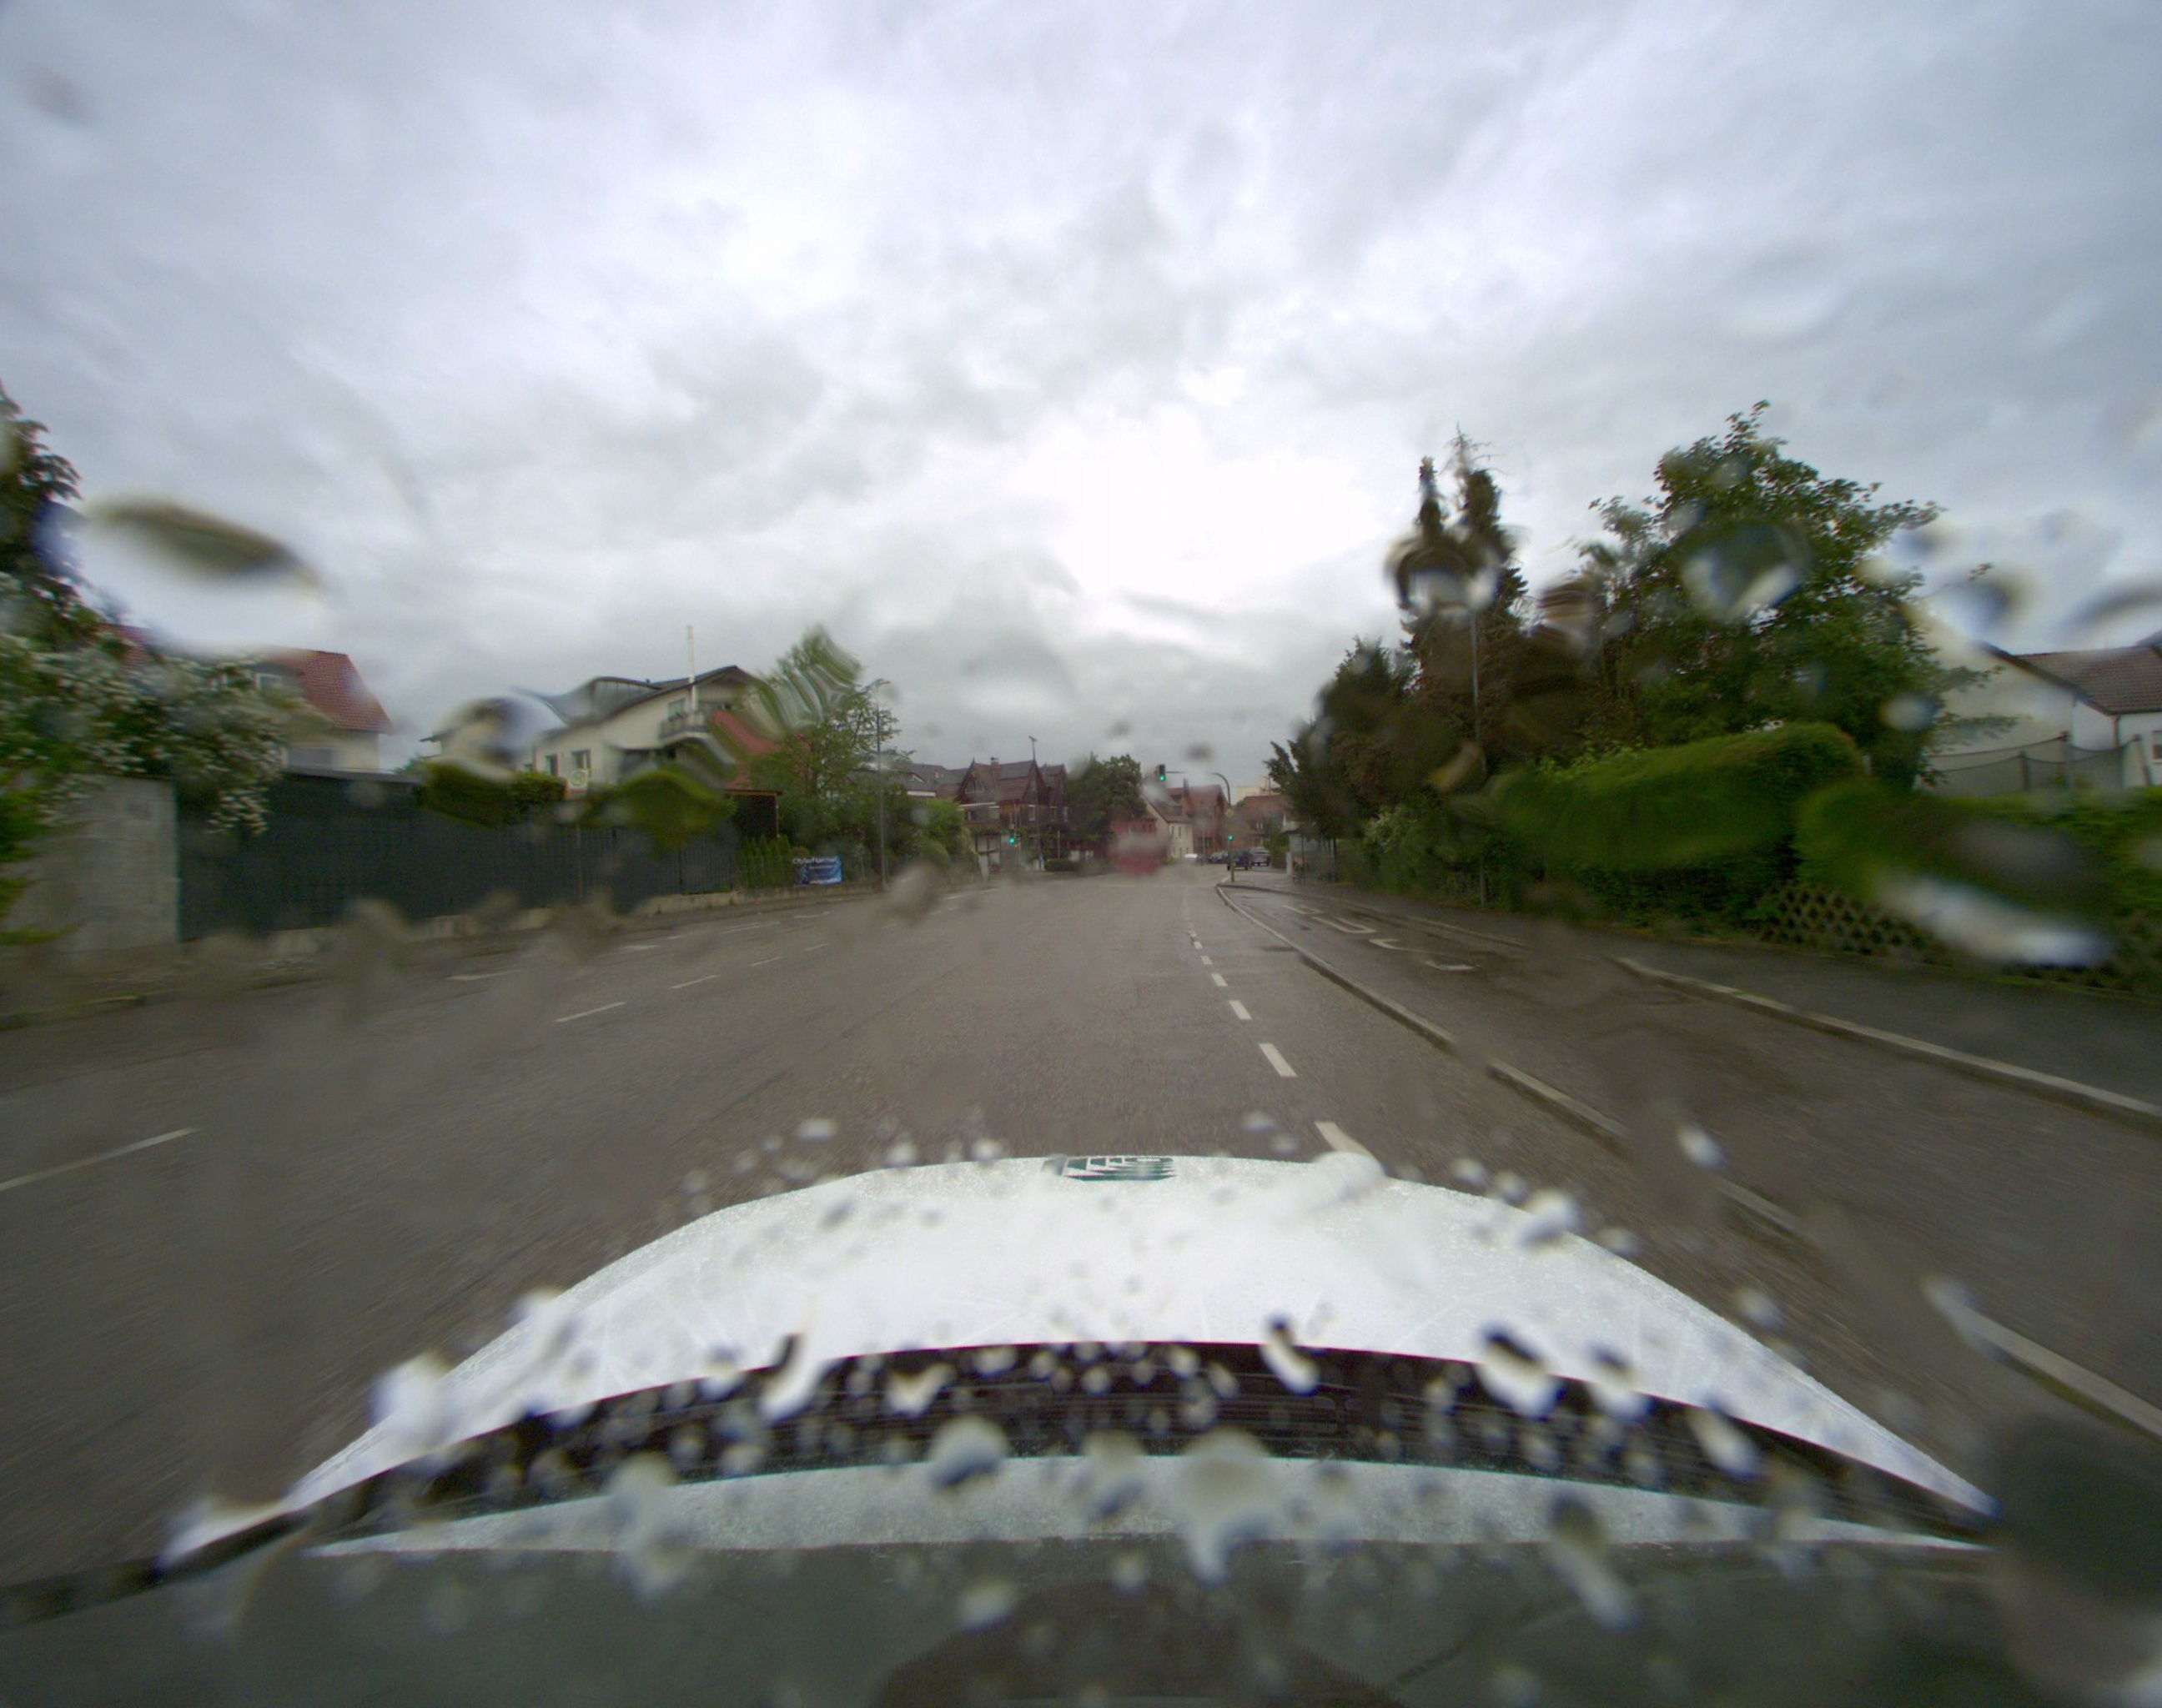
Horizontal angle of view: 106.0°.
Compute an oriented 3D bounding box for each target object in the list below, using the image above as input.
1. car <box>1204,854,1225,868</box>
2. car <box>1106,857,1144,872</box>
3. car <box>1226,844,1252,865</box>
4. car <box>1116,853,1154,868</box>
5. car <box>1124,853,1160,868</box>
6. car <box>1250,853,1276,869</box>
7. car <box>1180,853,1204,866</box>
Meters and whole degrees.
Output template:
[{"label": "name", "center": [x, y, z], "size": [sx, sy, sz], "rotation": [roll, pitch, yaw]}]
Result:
[{"label": "car", "center": [16.533, 0.814, 100.746], "size": [1.590, 1.618, 3.295], "rotation": [-2, -1, 26]}, {"label": "car", "center": [4.539, 1.047, 83.873], "size": [3.414, 1.418, 1.642], "rotation": [-2, -1, 27]}, {"label": "car", "center": [14.673, 0.074, 75.364], "size": [1.916, 1.902, 4.813], "rotation": [0, 0, 16]}, {"label": "car", "center": [5.711, 0.700, 86.203], "size": [3.542, 1.506, 1.867], "rotation": [1, 1, 29]}, {"label": "car", "center": [6.583, 0.664, 88.197], "size": [3.429, 1.479, 1.600], "rotation": [-2, -1, 27]}, {"label": "car", "center": [20.125, 0.745, 90.029], "size": [1.891, 1.717, 4.582], "rotation": [0, 0, 25]}, {"label": "car", "center": [12.470, 0.606, 91.293], "size": [1.612, 1.355, 4.134], "rotation": [0, 0, 24]}]
